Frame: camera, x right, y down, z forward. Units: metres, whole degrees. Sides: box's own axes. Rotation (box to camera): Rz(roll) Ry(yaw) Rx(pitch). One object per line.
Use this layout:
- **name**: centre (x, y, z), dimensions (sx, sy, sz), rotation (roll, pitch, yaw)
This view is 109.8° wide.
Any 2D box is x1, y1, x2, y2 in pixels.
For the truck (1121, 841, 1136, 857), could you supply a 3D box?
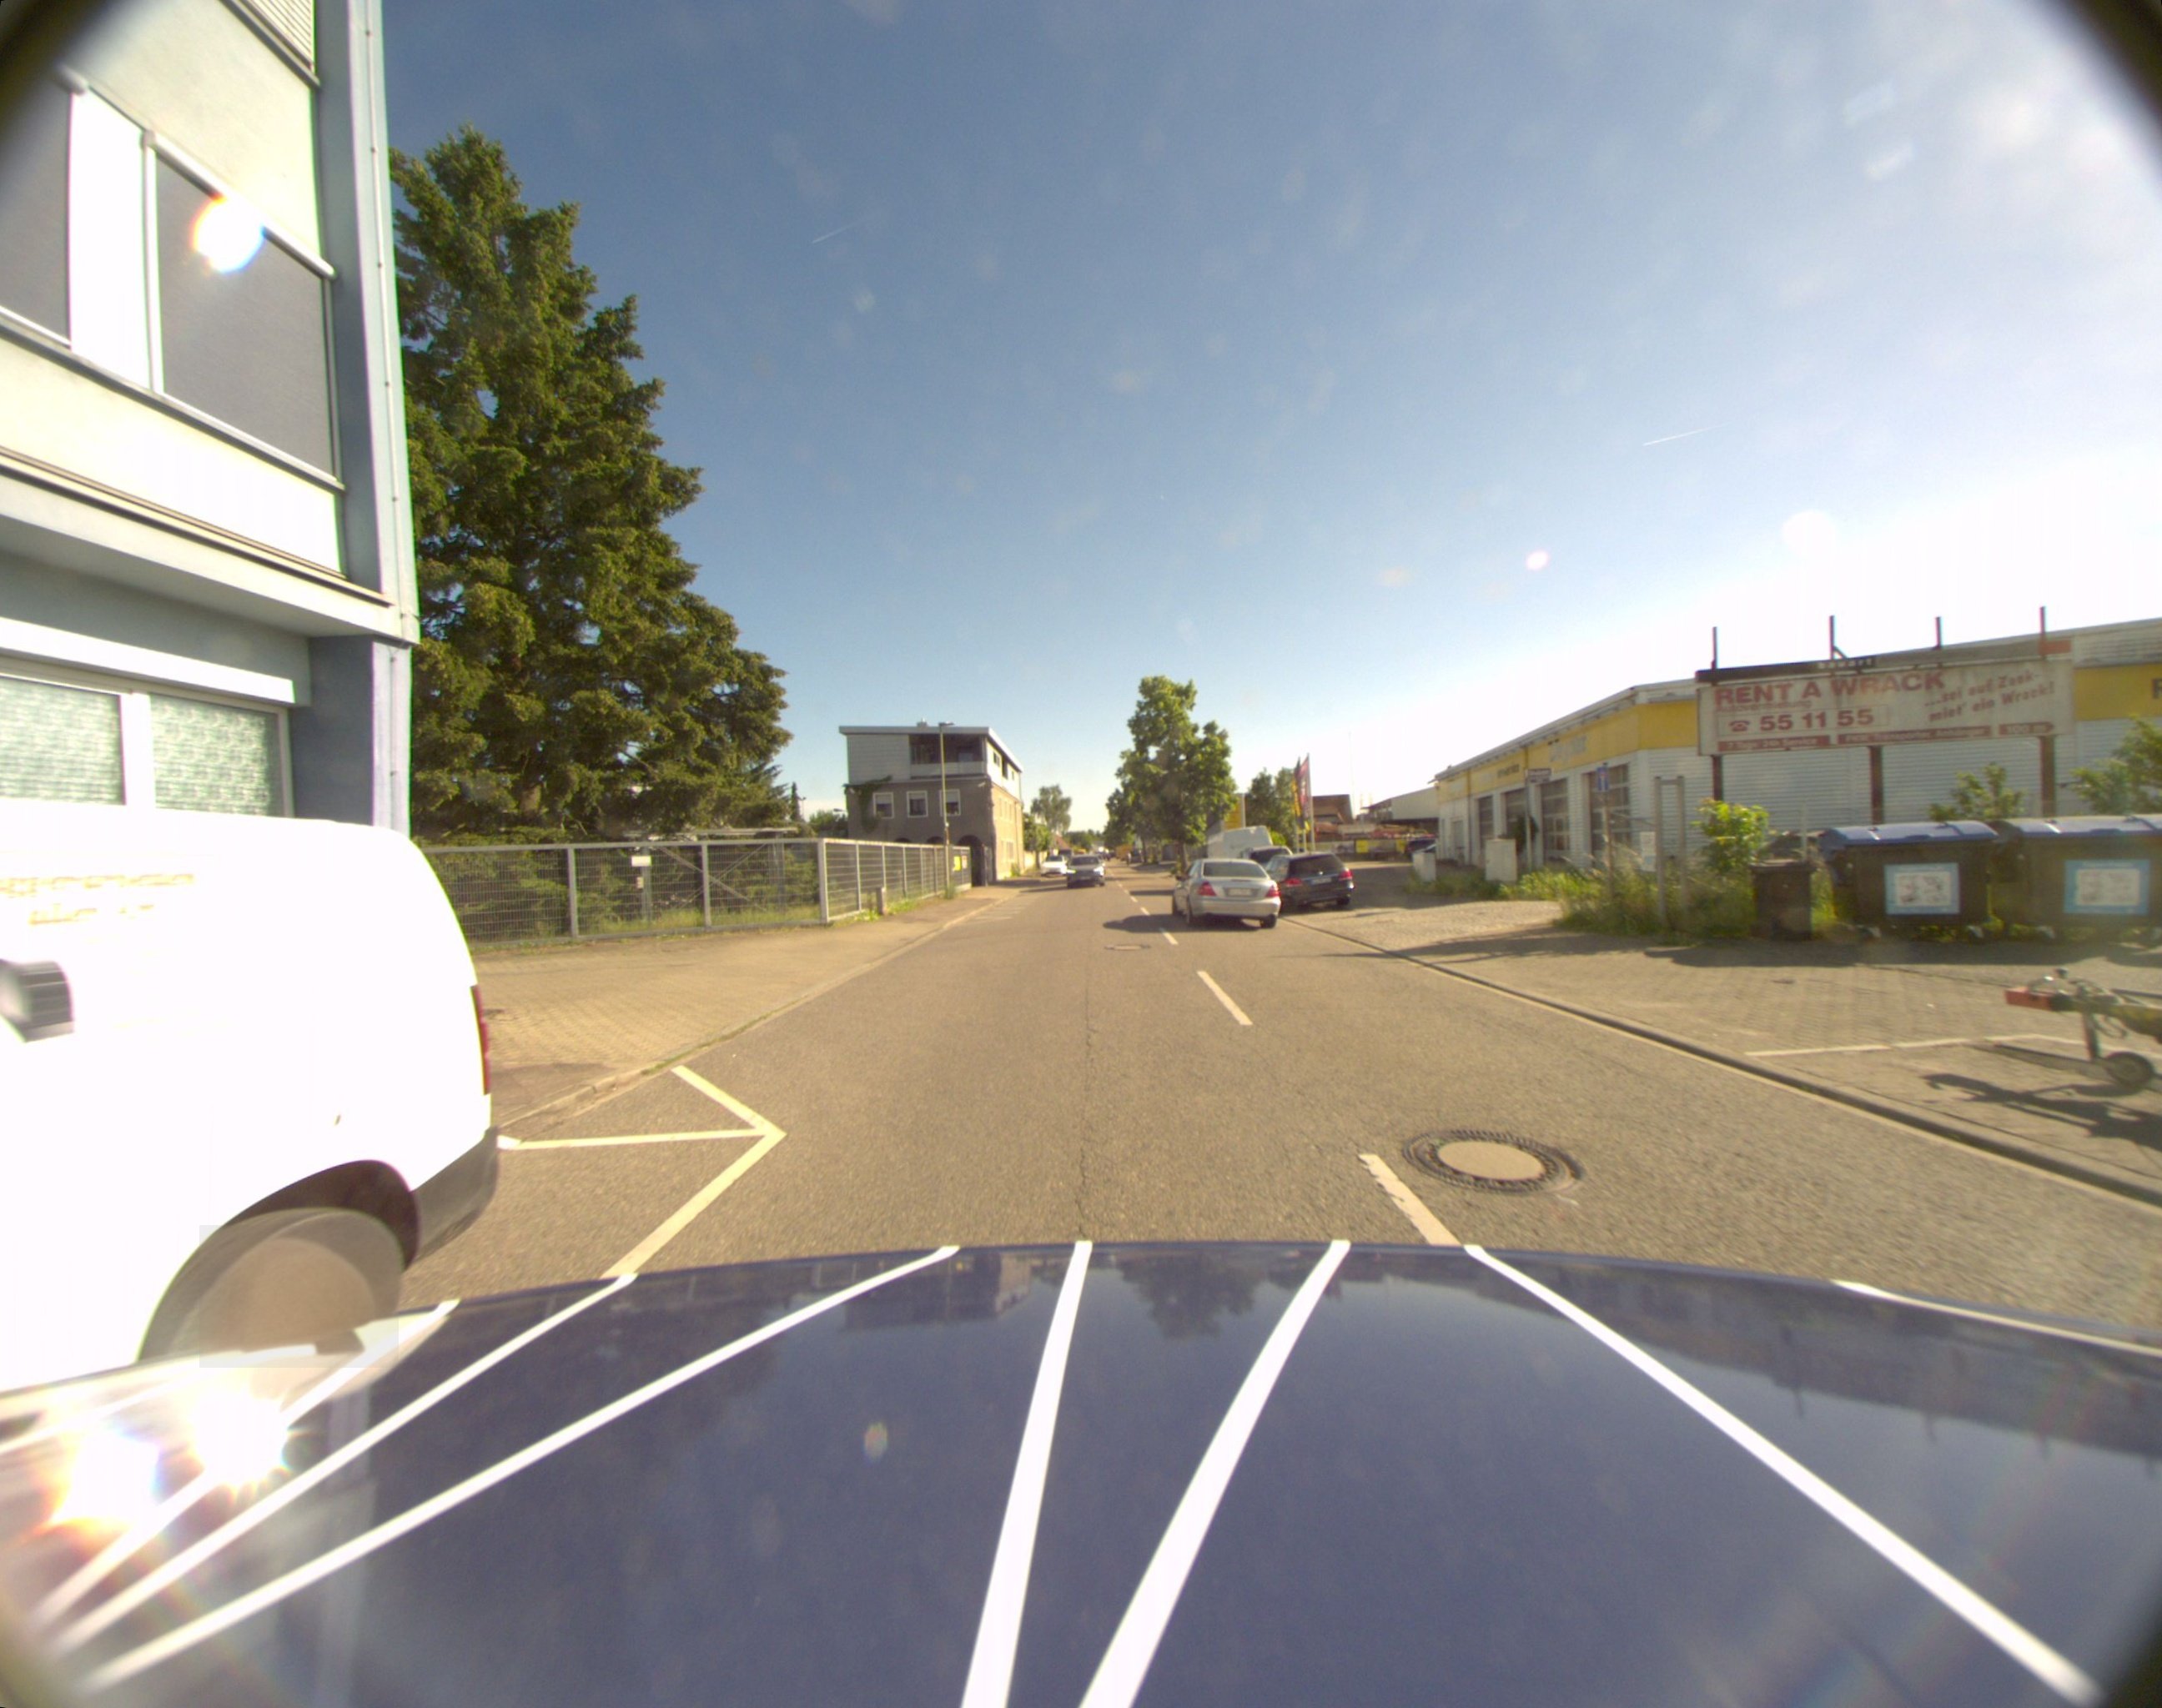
- **truck**: centre (8.420, -0.924, 135.587), dimensions (2.173, 2.698, 5.749), rotation (-4, 1, 1)

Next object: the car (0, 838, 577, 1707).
- **car**: centre (-3.091, 0.938, 0.493), dimensions (1.894, 1.821, 5.090), rotation (-3, 1, 2)

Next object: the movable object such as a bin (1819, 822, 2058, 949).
- **movable object such as a bin**: centre (10.233, 0.361, 9.190), dimensions (1.620, 1.397, 1.097), rotation (-2, 1, 29)

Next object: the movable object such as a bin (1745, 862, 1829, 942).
- **movable object such as a bin**: centre (9.239, 0.613, 9.969), dimensions (0.615, 0.967, 0.750), rotation (-1, 3, 25)

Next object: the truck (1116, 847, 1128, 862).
- **truck**: centre (9.369, 0.066, 174.941), dimensions (2.286, 3.012, 5.910), rotation (-7, 1, 1)

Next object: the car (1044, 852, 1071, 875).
- **car**: centre (-1.797, 0.697, 59.217), dimensions (1.937, 1.635, 4.769), rotation (-2, 0, -1)

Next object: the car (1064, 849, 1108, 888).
- **car**: centre (0.252, 0.690, 38.917), dimensions (1.998, 1.750, 5.015), rotation (-3, 0, 0)

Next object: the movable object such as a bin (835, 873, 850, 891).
- **movable object such as a bin**: centre (-14.305, 1.671, 45.542), dimensions (0.616, 0.967, 0.749), rotation (-3, 2, 2)

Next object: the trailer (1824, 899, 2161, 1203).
- **trailer**: centre (6.033, 0.919, 1.805), dimensions (2.382, 1.073, 6.245), rotation (-6, 0, 0)

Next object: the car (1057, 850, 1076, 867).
- **car**: centre (-1.520, 0.487, 81.091), dimensions (1.686, 1.604, 4.205), rotation (-4, 0, 1)

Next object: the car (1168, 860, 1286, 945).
- **car**: centre (3.031, 0.945, 16.640), dimensions (1.751, 1.439, 4.360), rotation (-3, 1, 1)
